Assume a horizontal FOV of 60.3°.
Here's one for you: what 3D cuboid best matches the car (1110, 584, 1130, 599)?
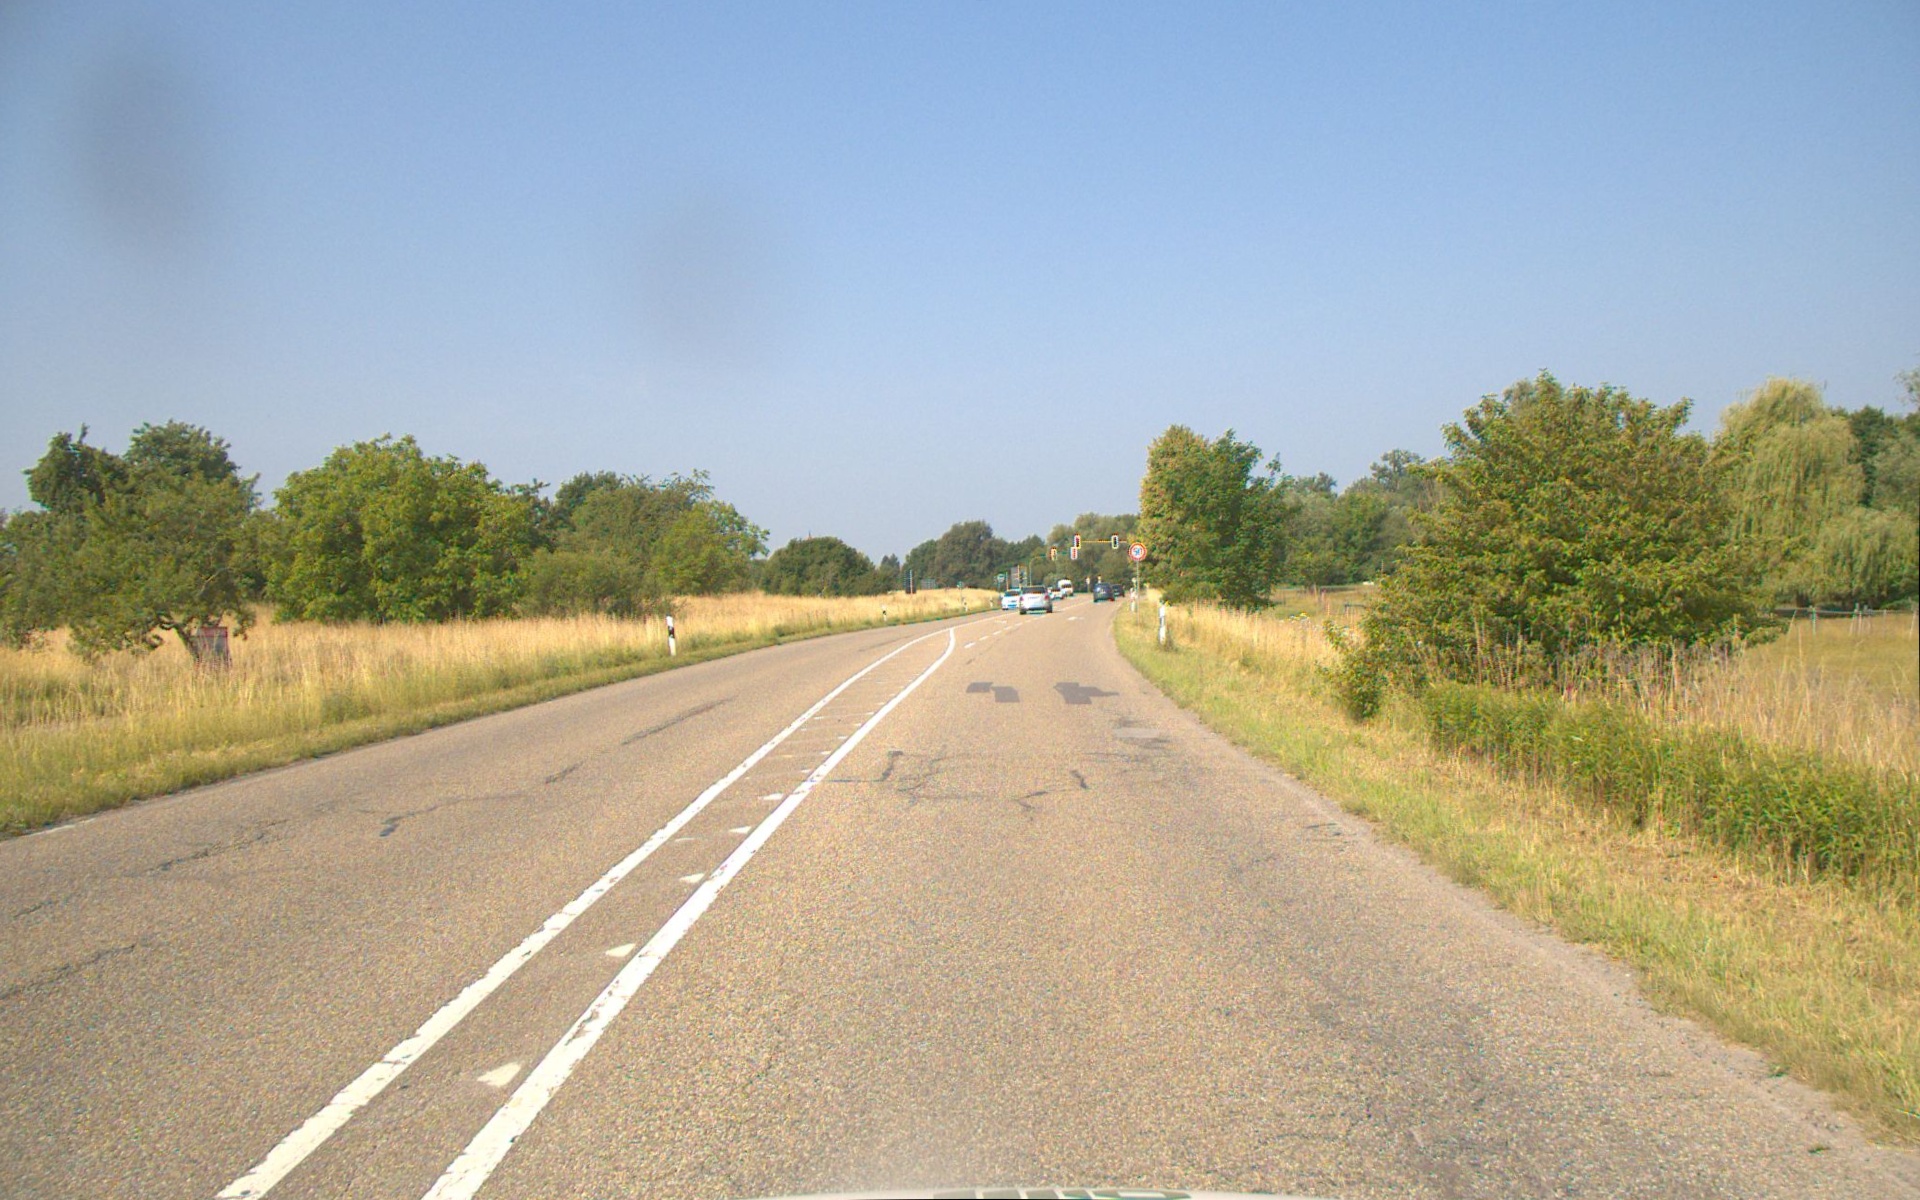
[{"bbox_3d":[17.440,-0.920,180.378,1.803,1.579,4.001,0,0,1],"label":"car"}]

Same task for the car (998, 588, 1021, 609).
[{"bbox_3d":[3.982,-0.140,132.618,1.774,1.613,4.226,0,0,3],"label":"car"}]

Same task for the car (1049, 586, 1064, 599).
[{"bbox_3d":[13.087,-1.036,225.211,1.796,1.724,3.862,-1,0,7],"label":"car"}]

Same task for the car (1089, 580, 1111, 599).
[{"bbox_3d":[12.426,-0.918,146.304,1.777,1.547,4.003,-2,0,6],"label":"car"}]

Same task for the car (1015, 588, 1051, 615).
[{"bbox_3d":[4.311,0.096,97.014,1.859,1.538,4.003,0,0,5],"label":"car"}]
